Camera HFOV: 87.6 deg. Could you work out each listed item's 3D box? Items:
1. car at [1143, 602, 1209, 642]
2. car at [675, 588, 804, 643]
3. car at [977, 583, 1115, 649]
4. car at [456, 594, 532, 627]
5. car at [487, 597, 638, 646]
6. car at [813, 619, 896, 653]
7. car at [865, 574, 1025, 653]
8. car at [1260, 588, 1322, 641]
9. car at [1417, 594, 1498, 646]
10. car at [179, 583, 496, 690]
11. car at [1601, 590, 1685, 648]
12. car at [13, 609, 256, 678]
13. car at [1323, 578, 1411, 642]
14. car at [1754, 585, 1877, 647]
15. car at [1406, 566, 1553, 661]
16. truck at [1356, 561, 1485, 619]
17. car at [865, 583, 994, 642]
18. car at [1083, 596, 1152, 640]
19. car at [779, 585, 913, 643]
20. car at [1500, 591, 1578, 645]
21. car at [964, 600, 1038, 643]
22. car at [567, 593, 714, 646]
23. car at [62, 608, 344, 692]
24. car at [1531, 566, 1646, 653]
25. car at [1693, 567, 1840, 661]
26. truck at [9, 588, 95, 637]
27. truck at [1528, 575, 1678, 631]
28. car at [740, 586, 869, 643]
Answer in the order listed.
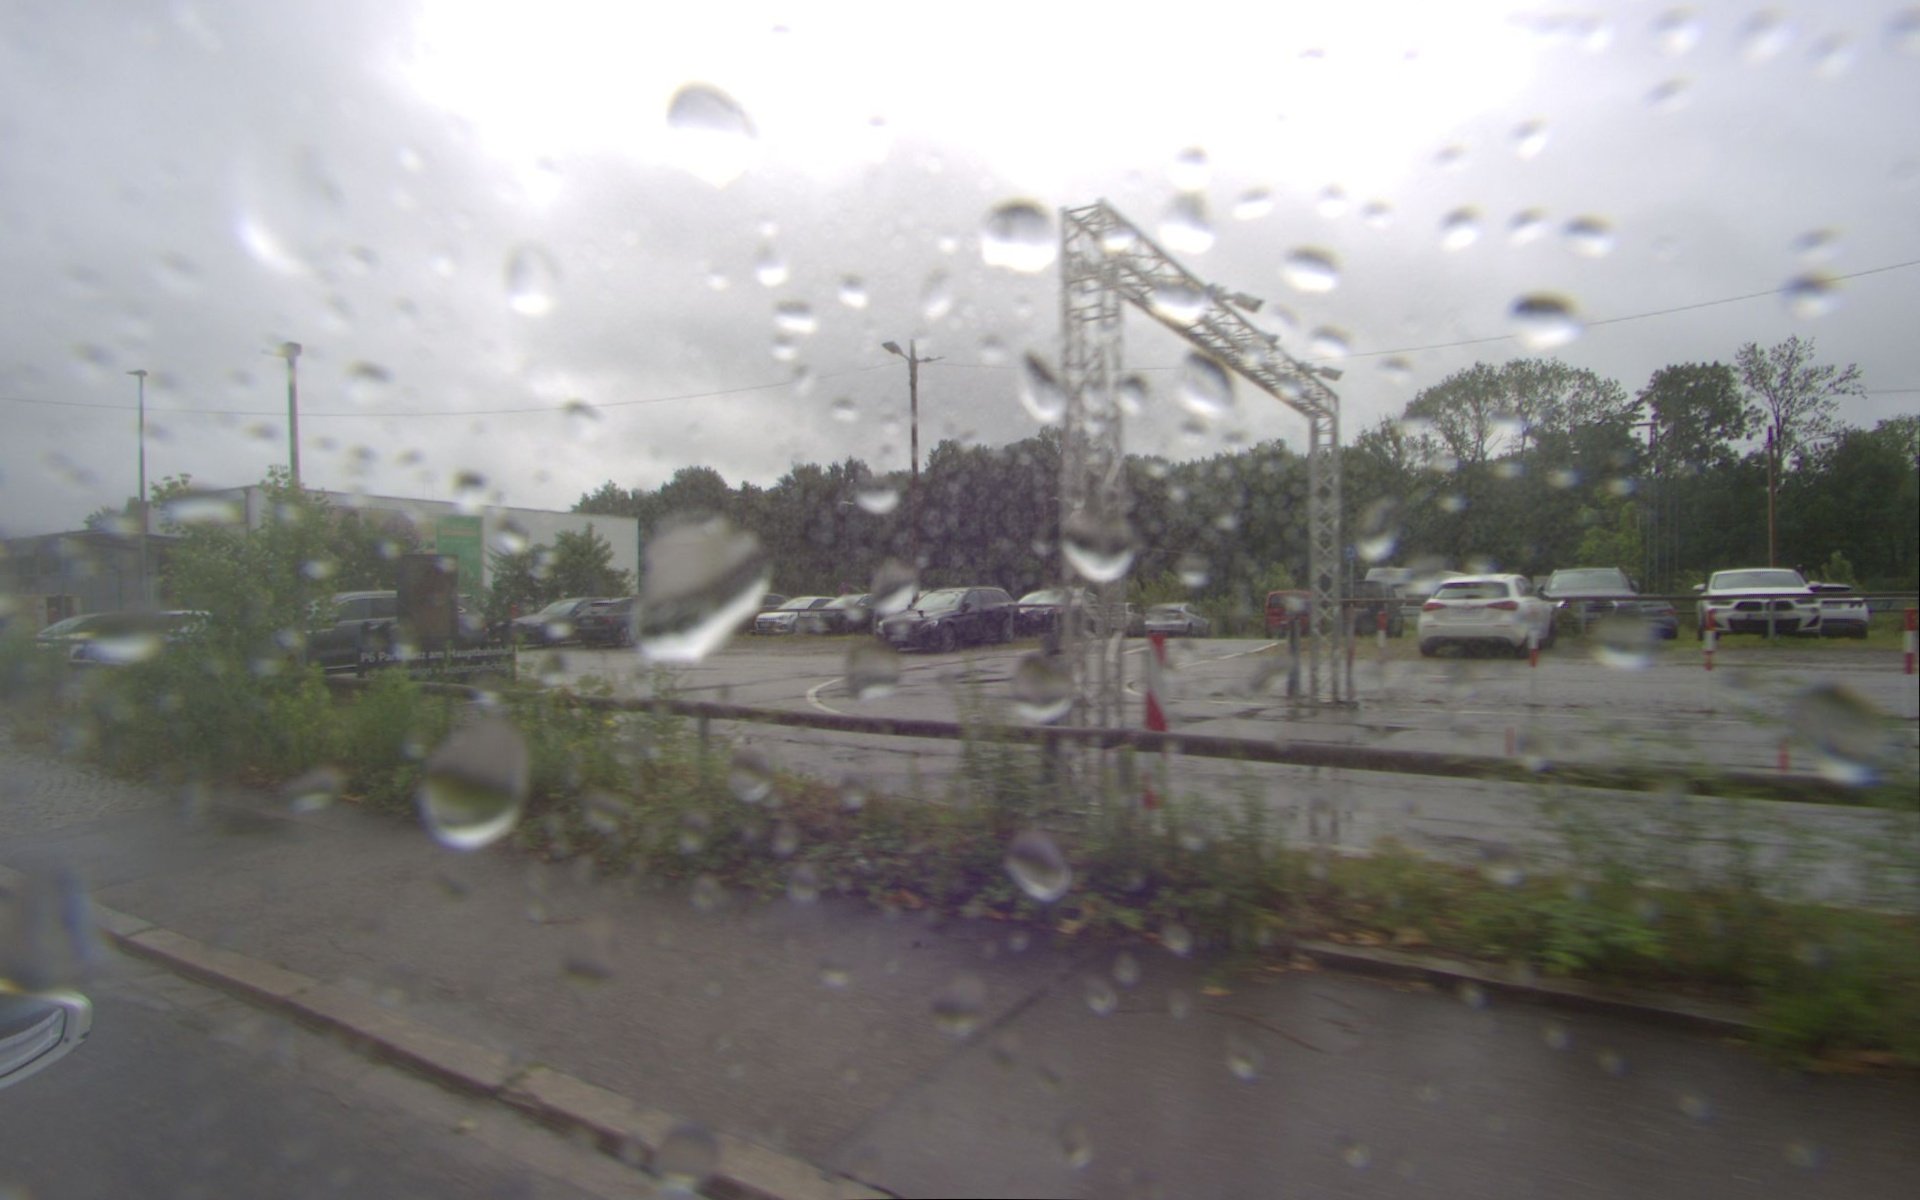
[{"bbox_3d":[8.446,0.807,38.910,1.761,1.419,3.987,0,0,24],"label":"car"},{"bbox_3d":[-7.868,0.514,36.119,2.014,1.695,4.432,-2,1,30],"label":"car"},{"bbox_3d":[2.588,0.420,29.012,2.015,1.627,4.690,-2,1,32],"label":"car"},{"bbox_3d":[-27.119,0.618,58.205,4.316,1.848,1.781,-1,1,30],"label":"car"},{"bbox_3d":[-12.327,0.672,31.263,1.973,1.427,3.978,-2,-2,33],"label":"car"},{"bbox_3d":[-4.933,1.655,47.358,1.864,1.416,3.978,1,1,33],"label":"car"},{"bbox_3d":[-0.237,0.317,24.502,1.988,1.738,4.616,-2,-1,27],"label":"car"},{"bbox_3d":[12.128,0.488,36.545,1.761,1.792,3.987,0,0,24],"label":"car"},{"bbox_3d":[16.782,0.616,33.689,1.992,1.610,4.307,0,0,33],"label":"car"},{"bbox_3d":[-11.660,0.608,19.082,2.101,1.758,4.663,-2,0,37],"label":"car"},{"bbox_3d":[20.809,0.527,30.676,1.992,1.610,4.307,0,0,33],"label":"car"},{"bbox_3d":[-19.817,1.005,24.217,1.864,1.529,4.172,-2,-2,33],"label":"car"},{"bbox_3d":[14.110,0.311,34.575,1.992,2.025,4.772,0,1,33],"label":"car"},{"bbox_3d":[23.961,0.409,28.231,1.992,1.610,4.308,0,0,32],"label":"car"},{"bbox_3d":[9.735,0.209,18.613,1.903,1.504,3.815,-2,2,35],"label":"car"},{"bbox_3d":[20.485,-0.409,44.607,5.012,2.434,2.067,0,1,33],"label":"truck"},{"bbox_3d":[-0.916,0.375,32.472,2.015,1.627,4.430,-2,1,32],"label":"car"},{"bbox_3d":[6.355,0.691,40.107,1.761,1.658,3.987,0,0,24],"label":"car"},{"bbox_3d":[-3.675,0.433,33.056,2.015,1.627,4.430,-2,1,32],"label":"car"},{"bbox_3d":[18.794,0.532,32.438,1.992,1.610,4.307,0,0,33],"label":"car"},{"bbox_3d":[1.835,0.889,43.264,1.866,1.751,3.988,0,0,23],"label":"car"},{"bbox_3d":[-9.775,0.598,30.869,1.973,1.504,3.978,-2,-2,33],"label":"car"},{"bbox_3d":[-15.416,0.963,20.631,1.794,1.536,4.286,-2,-2,33],"label":"car"},{"bbox_3d":[13.702,0.147,21.796,1.901,1.627,4.688,-2,1,33],"label":"car"},{"bbox_3d":[16.116,0.230,20.206,1.901,1.627,4.048,-2,1,33],"label":"car"},{"bbox_3d":[-53.433,0.687,58.866,7.318,2.695,2.293,0,2,36],"label":"truck"},{"bbox_3d":[26.186,0.106,40.874,5.020,2.167,2.064,0,1,38],"label":"truck"},{"bbox_3d":[-5.334,0.465,34.929,2.015,1.695,4.430,-2,1,32],"label":"car"}]
